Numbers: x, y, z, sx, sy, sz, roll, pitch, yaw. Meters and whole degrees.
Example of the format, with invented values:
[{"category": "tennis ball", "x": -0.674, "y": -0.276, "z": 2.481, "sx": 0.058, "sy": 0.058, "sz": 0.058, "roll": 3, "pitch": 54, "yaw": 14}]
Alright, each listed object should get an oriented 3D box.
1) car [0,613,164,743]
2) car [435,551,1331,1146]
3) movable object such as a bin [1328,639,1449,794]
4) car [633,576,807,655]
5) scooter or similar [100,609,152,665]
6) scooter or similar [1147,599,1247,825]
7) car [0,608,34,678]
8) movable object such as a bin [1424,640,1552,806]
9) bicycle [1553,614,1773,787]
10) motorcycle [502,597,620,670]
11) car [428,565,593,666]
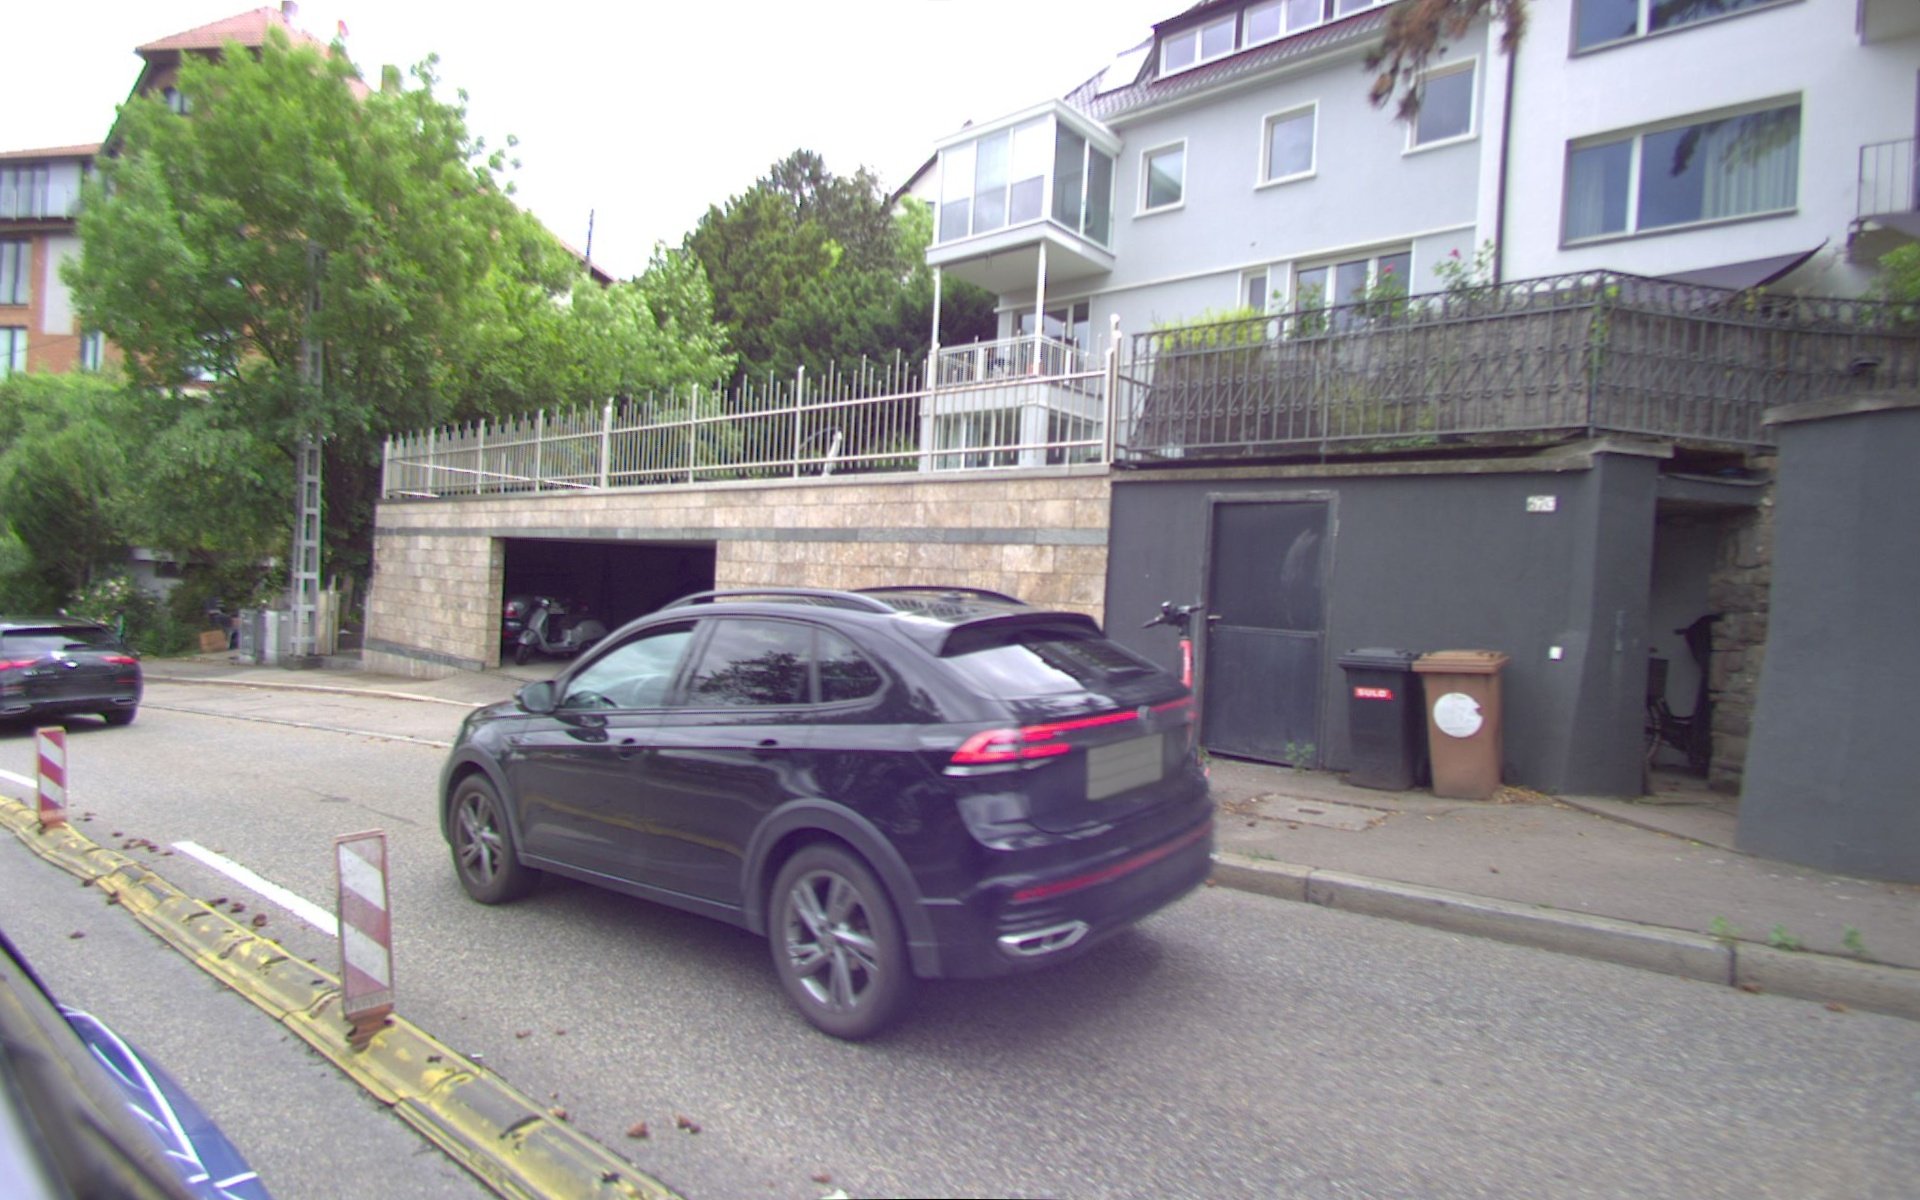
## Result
[{"category": "car", "x": -12.405, "y": 0.922, "z": 13.242, "sx": 4.205, "sy": 1.465, "sz": 1.849, "roll": -1, "pitch": 0, "yaw": 32}, {"category": "car", "x": -0.608, "y": 0.657, "z": 4.552, "sx": 3.907, "sy": 1.541, "sz": 1.741, "roll": -1, "pitch": 0, "yaw": 40}, {"category": "movable object such as a bin", "x": 2.860, "y": 0.747, "z": 6.758, "sx": 0.601, "sy": 0.946, "sz": 0.537, "roll": -1, "pitch": 0, "yaw": 41}, {"category": "car", "x": -5.502, "y": 0.308, "z": 22.952, "sx": 3.997, "sy": 1.462, "sz": 1.724, "roll": 5, "pitch": 2, "yaw": 39}, {"category": "scooter or similar", "x": -19.631, "y": 0.869, "z": 23.833, "sx": 0.955, "sy": 1.266, "sz": 0.404, "roll": -1, "pitch": 3, "yaw": 15}, {"category": "scooter or similar", "x": 1.421, "y": 0.616, "z": 6.201, "sx": 0.489, "sy": 1.242, "sz": 1.211, "roll": -1, "pitch": 0, "yaw": 9}, {"category": "car", "x": -22.048, "y": 0.972, "z": 21.801, "sx": 3.695, "sy": 1.445, "sz": 1.809, "roll": -1, "pitch": 3, "yaw": 26}, {"category": "movable object such as a bin", "x": 3.316, "y": 0.742, "z": 6.360, "sx": 0.601, "sy": 0.946, "sz": 0.537, "roll": -1, "pitch": 0, "yaw": 41}, {"category": "bicycle", "x": 4.876, "y": 0.671, "z": 7.090, "sx": 1.206, "sy": 1.141, "sz": 0.342, "roll": -1, "pitch": -1, "yaw": 27}, {"category": "motorcycle", "x": -7.022, "y": 0.564, "z": 17.876, "sx": 1.817, "sy": 1.192, "sz": 0.637, "roll": -1, "pitch": 4, "yaw": -45}, {"category": "car", "x": -8.644, "y": 0.216, "z": 19.354, "sx": 3.588, "sy": 1.616, "sz": 1.552, "roll": 5, "pitch": 4, "yaw": 42}]
